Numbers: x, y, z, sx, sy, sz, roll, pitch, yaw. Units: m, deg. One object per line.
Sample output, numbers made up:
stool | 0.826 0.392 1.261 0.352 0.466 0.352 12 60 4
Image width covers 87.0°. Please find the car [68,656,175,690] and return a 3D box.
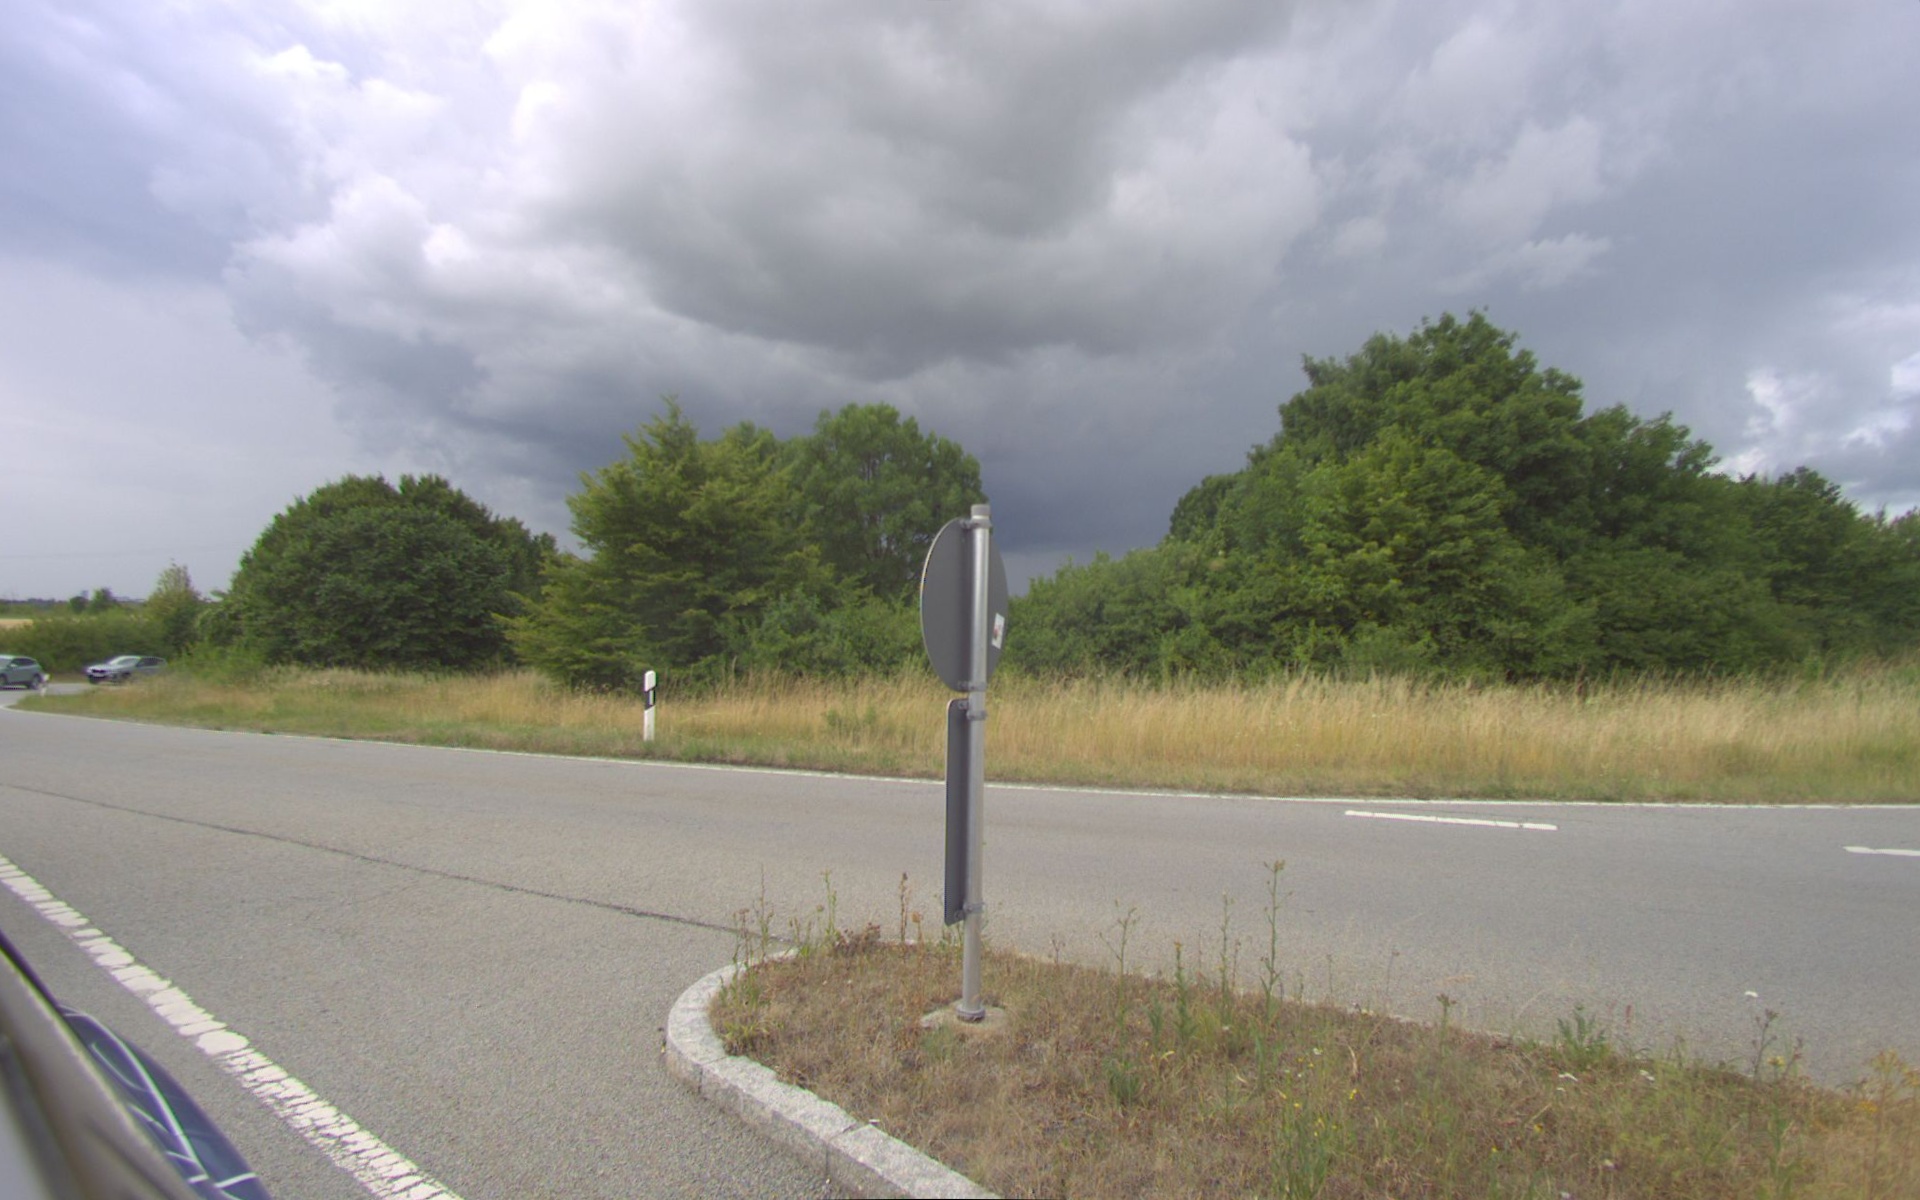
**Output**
car | -48.599 4.207 58.833 1.971 1.732 5.210 3 -3 -2

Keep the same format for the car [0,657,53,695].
car | -46.308 3.619 48.549 1.966 1.733 5.223 3 -5 -16
